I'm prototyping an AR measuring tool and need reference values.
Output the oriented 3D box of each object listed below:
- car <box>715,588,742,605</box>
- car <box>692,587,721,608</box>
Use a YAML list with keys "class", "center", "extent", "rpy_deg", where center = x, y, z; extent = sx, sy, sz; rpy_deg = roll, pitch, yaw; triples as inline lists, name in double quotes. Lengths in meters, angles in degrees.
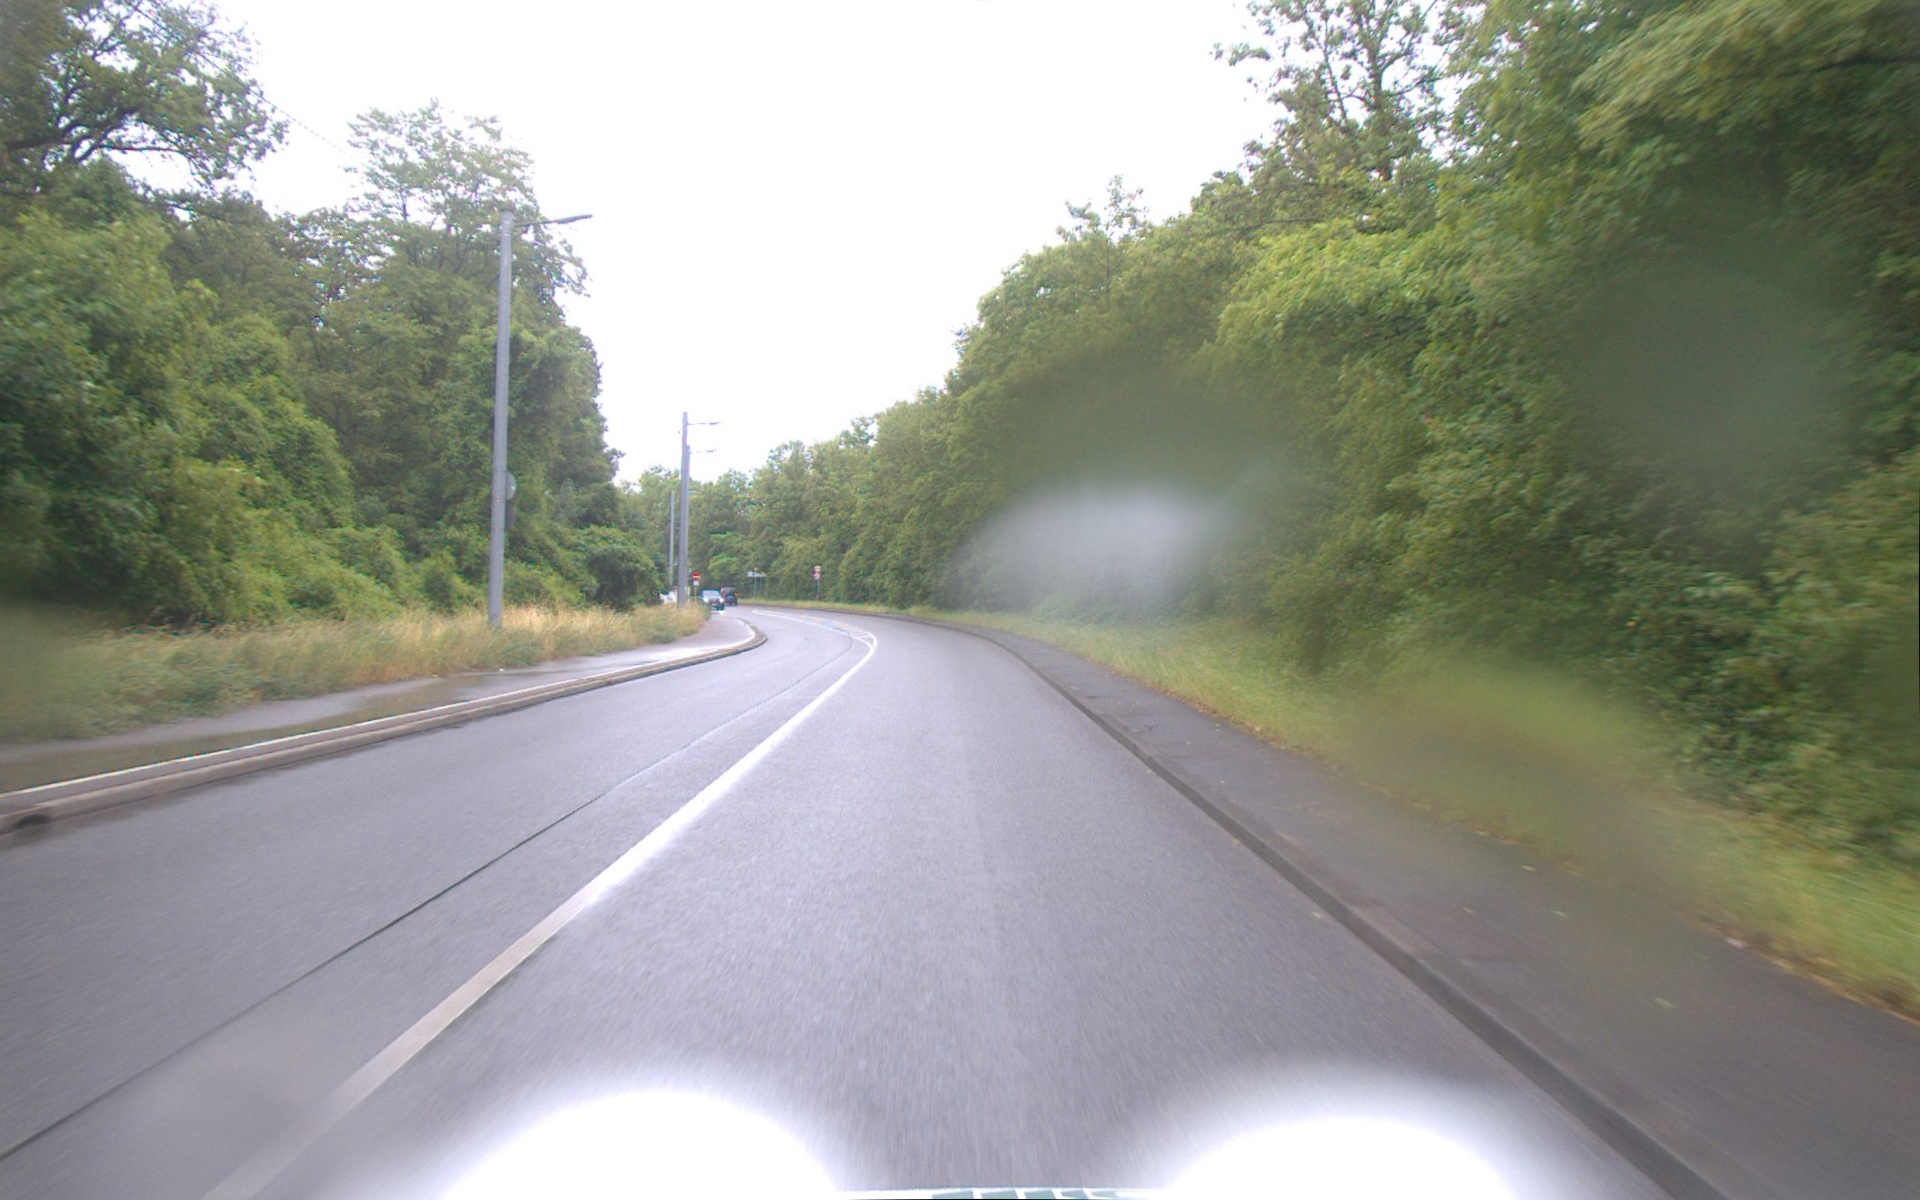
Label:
- class: "car"
  center: [-23.933, -0.380, 171.110]
  extent: [1.842, 1.623, 3.974]
  rpy_deg: [3, 0, -22]
- class: "car"
  center: [-22.856, -0.232, 149.160]
  extent: [1.962, 1.818, 4.686]
  rpy_deg: [-1, 0, -17]
